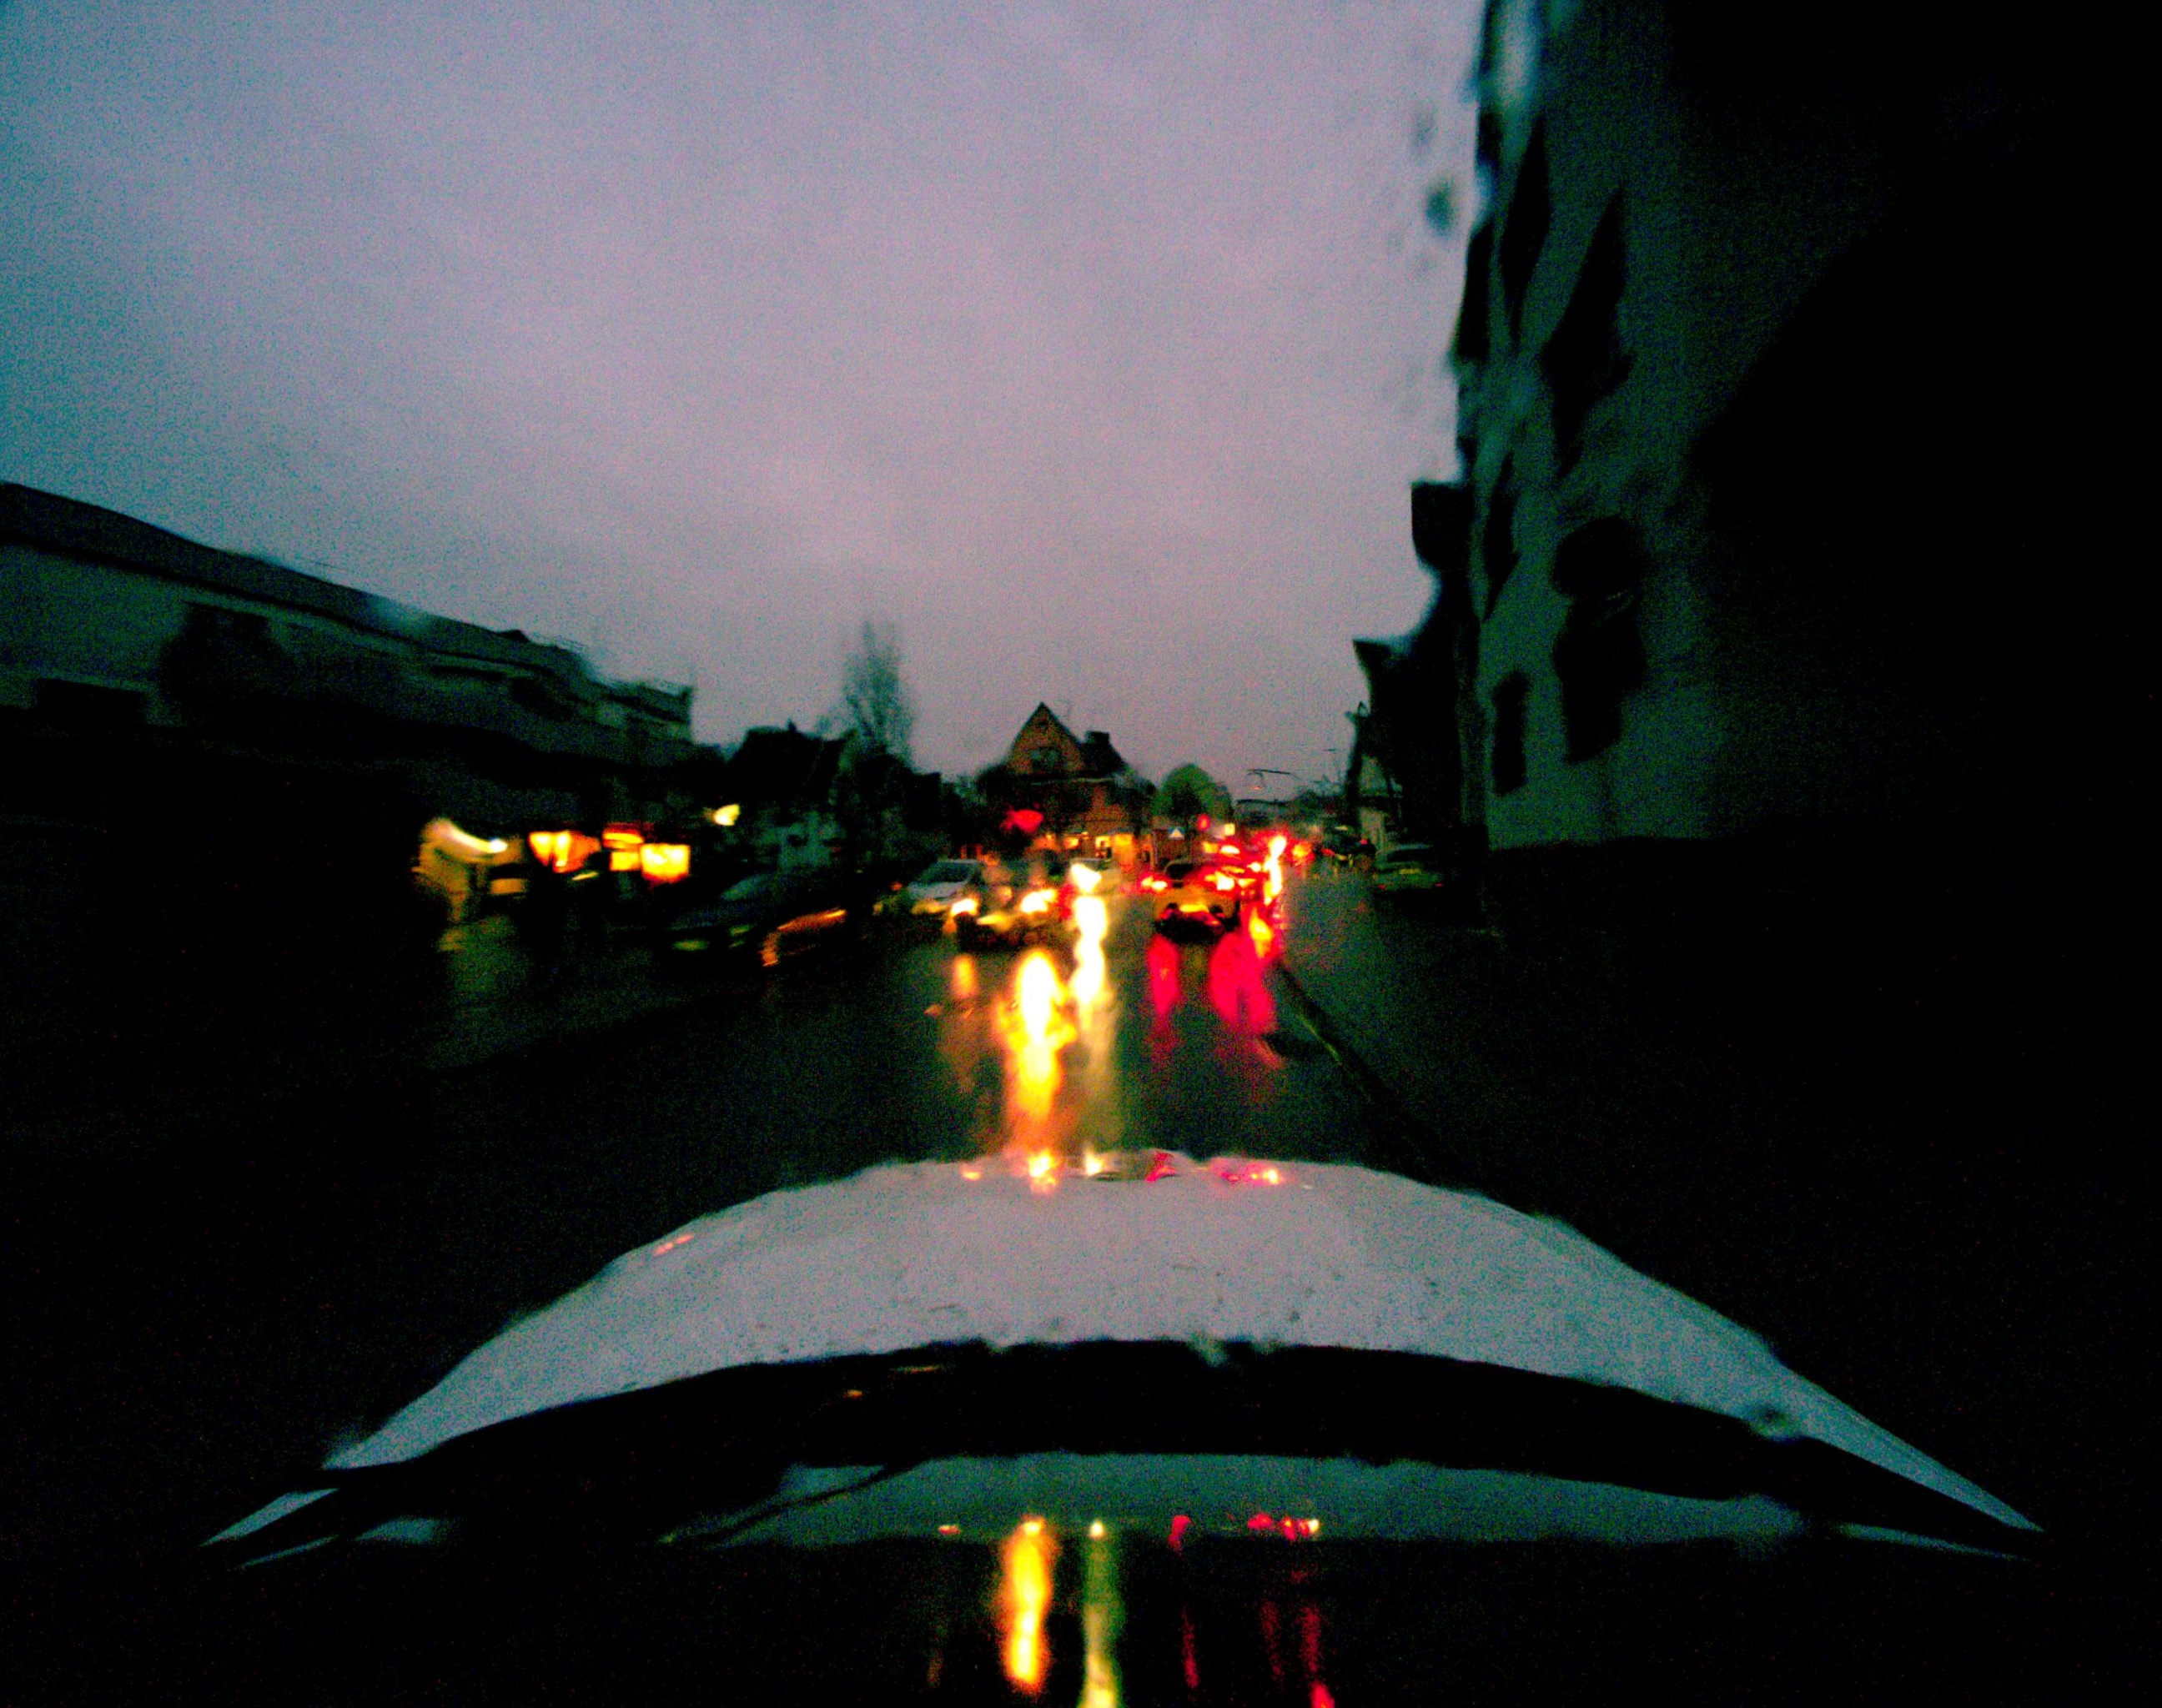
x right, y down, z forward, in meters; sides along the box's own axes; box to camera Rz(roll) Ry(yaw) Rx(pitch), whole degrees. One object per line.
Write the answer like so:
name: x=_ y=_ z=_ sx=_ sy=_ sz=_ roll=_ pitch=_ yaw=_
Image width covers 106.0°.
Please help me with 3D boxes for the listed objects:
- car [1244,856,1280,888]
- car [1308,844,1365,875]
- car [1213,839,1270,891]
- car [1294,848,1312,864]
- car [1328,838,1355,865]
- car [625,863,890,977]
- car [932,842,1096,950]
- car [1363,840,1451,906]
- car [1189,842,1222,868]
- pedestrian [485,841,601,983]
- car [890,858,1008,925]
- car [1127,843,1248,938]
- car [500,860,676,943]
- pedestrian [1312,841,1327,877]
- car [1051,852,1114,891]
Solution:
car: x=9.067 y=0.860 z=40.747 sx=1.638 sy=1.442 sz=3.880 roll=-2 pitch=-1 yaw=13
car: x=17.453 y=0.364 z=55.600 sx=3.667 sy=2.014 sz=1.697 roll=-1 pitch=-1 yaw=18
car: x=5.696 y=0.363 z=28.561 sx=1.785 sy=1.662 sz=4.014 roll=-1 pitch=-1 yaw=13
car: x=21.706 y=0.170 z=79.437 sx=1.523 sy=1.245 sz=3.663 roll=-7 pitch=0 yaw=16
car: x=20.487 y=-0.211 z=64.184 sx=1.630 sy=2.013 sz=4.014 roll=-3 pitch=0 yaw=13
car: x=-4.957 y=0.916 z=13.276 sx=1.734 sy=1.472 sz=4.475 roll=-1 pitch=0 yaw=13
car: x=-1.156 y=0.731 z=16.606 sx=2.128 sy=1.860 sz=4.756 roll=-2 pitch=0 yaw=10
car: x=8.722 y=0.425 z=21.558 sx=1.866 sy=1.466 sz=4.569 roll=-4 pitch=0 yaw=24
car: x=10.141 y=0.066 z=65.991 sx=1.978 sy=2.013 sz=4.381 roll=-2 pitch=0 yaw=17
pedestrian: x=-7.420 y=0.770 z=11.276 sx=0.748 sy=1.866 sz=1.065 roll=-2 pitch=-1 yaw=15
car: x=-3.247 y=0.882 z=20.780 sx=1.681 sy=1.516 sz=3.786 roll=-1 pitch=0 yaw=12
car: x=2.500 y=0.686 z=17.987 sx=1.979 sy=1.795 sz=4.667 roll=-2 pitch=0 yaw=15
car: x=-10.365 y=0.982 z=17.036 sx=4.035 sy=1.477 sz=1.751 roll=-3 pitch=-1 yaw=38
pedestrian: x=12.779 y=0.252 z=43.628 sx=0.657 sy=1.888 sz=0.828 roll=-1 pitch=-1 yaw=22
car: x=0.127 y=0.686 z=34.322 sx=1.657 sy=1.516 sz=4.016 roll=0 pitch=0 yaw=15
